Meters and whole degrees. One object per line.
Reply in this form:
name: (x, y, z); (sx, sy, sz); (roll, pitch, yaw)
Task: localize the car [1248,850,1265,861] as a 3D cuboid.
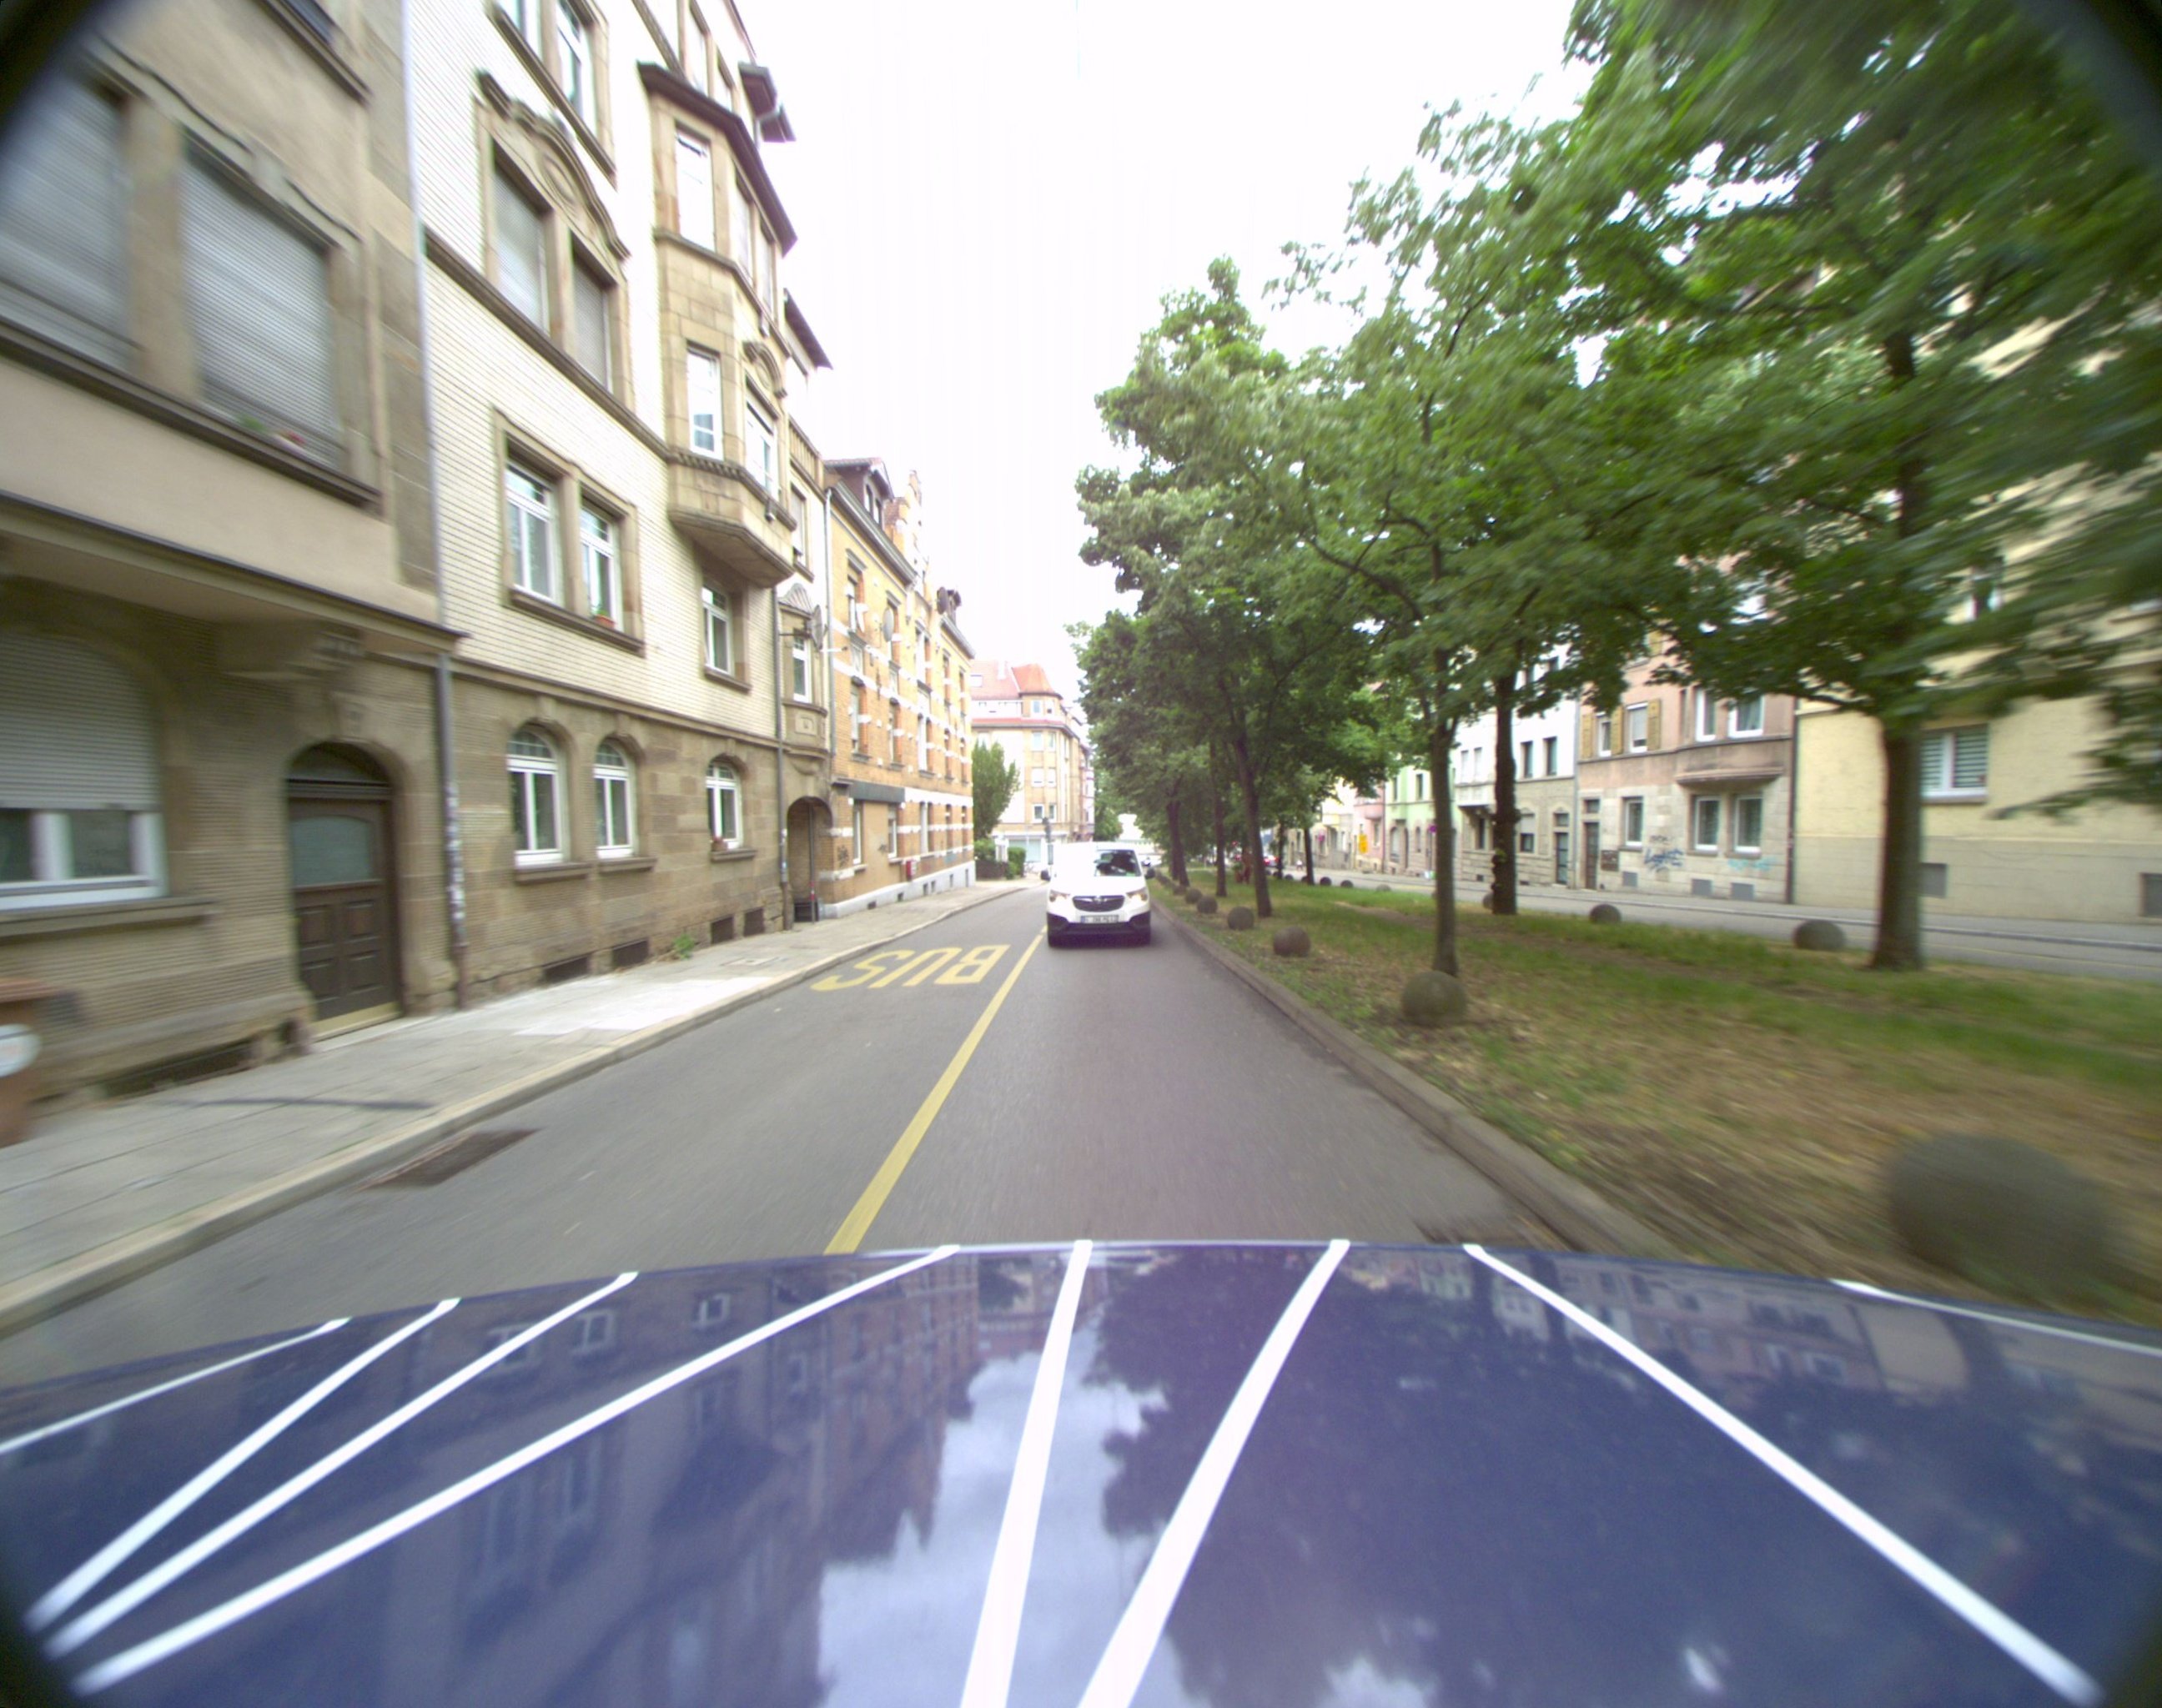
car: (22.965, 0.246, 99.575); (1.712, 1.374, 4.671); (1, -1, 7)

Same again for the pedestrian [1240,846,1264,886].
pedestrian: (7.603, 0.523, 33.823); (0.835, 1.703, 1.123); (3, 3, 6)

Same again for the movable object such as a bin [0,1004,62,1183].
movable object such as a bin: (-6.002, 1.291, 3.952); (0.596, 0.899, 0.563); (-2, 1, 1)

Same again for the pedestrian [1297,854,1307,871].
pedestrian: (19.139, 0.745, 65.740); (0.700, 1.452, 0.704); (-1, 0, 7)

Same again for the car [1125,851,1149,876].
car: (4.753, 0.799, 65.134); (1.962, 1.938, 3.956); (-2, 2, 3)

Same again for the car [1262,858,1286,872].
car: (20.020, 1.188, 79.019); (1.762, 1.374, 4.671); (1, -1, 7)

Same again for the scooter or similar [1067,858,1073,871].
scooter or similar: (-1.027, 1.048, 73.425); (0.410, 1.202, 1.146); (2, -2, 6)

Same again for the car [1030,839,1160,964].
car: (0.344, 0.729, 13.641); (1.857, 1.798, 4.730); (-2, 0, 3)

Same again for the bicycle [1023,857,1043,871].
bicycle: (-4.260, 0.875, 67.460); (0.642, 1.134, 2.068); (-5, 7, -37)

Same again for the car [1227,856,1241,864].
car: (25.303, 0.998, 125.458); (1.673, 1.398, 4.296); (0, 0, 4)
